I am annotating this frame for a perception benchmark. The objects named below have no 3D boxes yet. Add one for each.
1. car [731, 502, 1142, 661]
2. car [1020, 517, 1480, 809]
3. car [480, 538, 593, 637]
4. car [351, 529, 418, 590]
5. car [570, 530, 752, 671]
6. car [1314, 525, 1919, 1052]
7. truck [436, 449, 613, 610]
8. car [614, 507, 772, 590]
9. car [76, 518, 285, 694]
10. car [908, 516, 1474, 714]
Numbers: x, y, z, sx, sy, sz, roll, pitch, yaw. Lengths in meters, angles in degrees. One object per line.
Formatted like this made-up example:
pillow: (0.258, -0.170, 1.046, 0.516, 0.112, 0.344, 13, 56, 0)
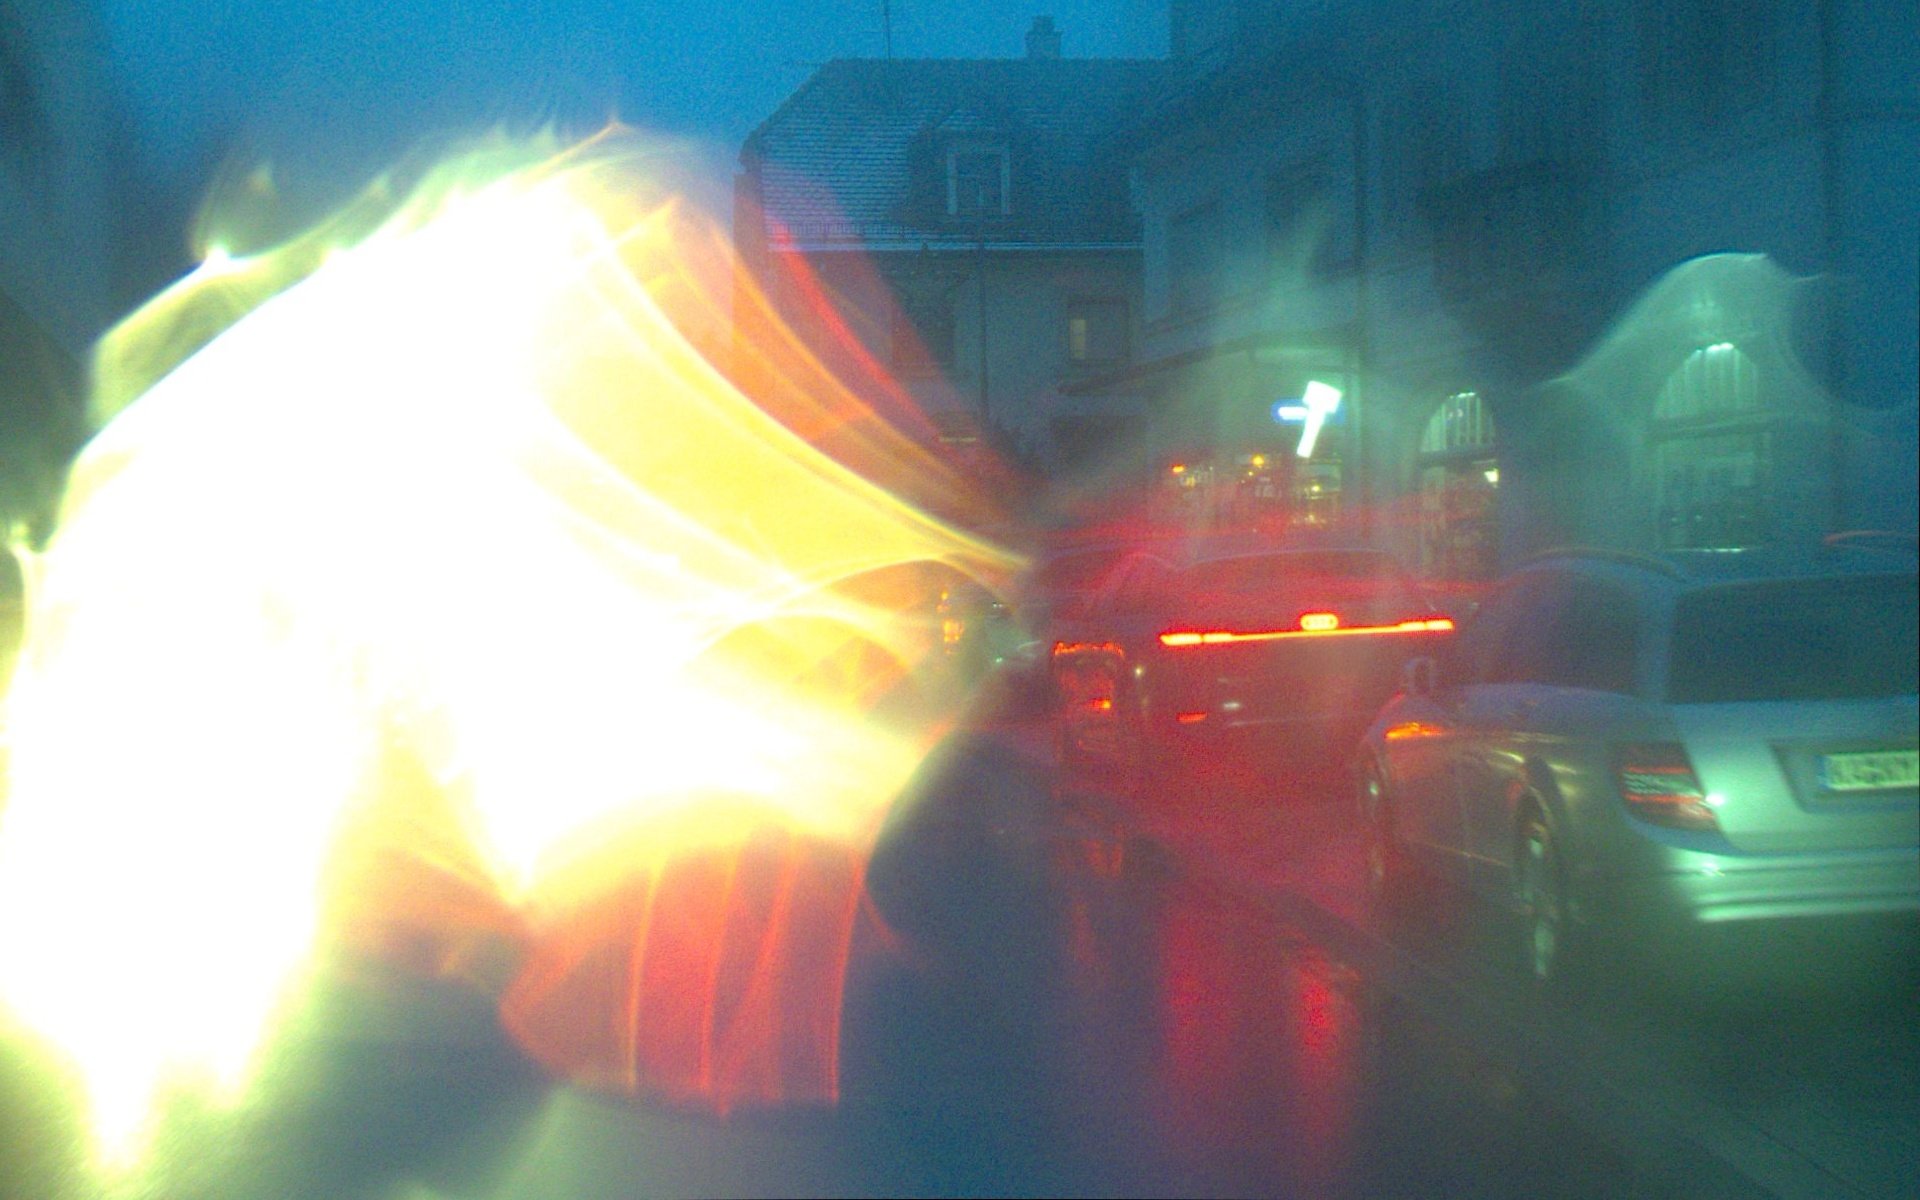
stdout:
car: (-0.308, -0.252, 41.416, 4.602, 1.769, 1.946, -2, 2, -13)
car: (1.640, 0.289, 21.193, 1.882, 1.541, 4.672, -2, 1, -7)
car: (-6.673, -0.219, 53.944, 1.637, 1.476, 3.272, 0, 1, -9)
car: (-14.850, -1.053, 88.744, 1.637, 1.530, 3.407, 0, 1, -8)
car: (-3.333, -0.011, 37.842, 1.637, 1.476, 3.380, 0, 1, -11)
car: (2.573, 0.498, 12.222, 1.794, 1.455, 4.531, -2, 1, -4)
truck: (-9.071, -1.435, 70.843, 3.014, 3.118, 8.003, 0, 1, -12)
car: (-7.026, -1.367, 90.802, 4.097, 2.155, 1.913, 0, 1, -2)
car: (-7.707, 0.012, 34.261, 1.794, 1.637, 3.813, 0, 1, -9)
car: (1.934, 0.096, 29.448, 4.465, 1.468, 1.898, -2, 2, -10)
